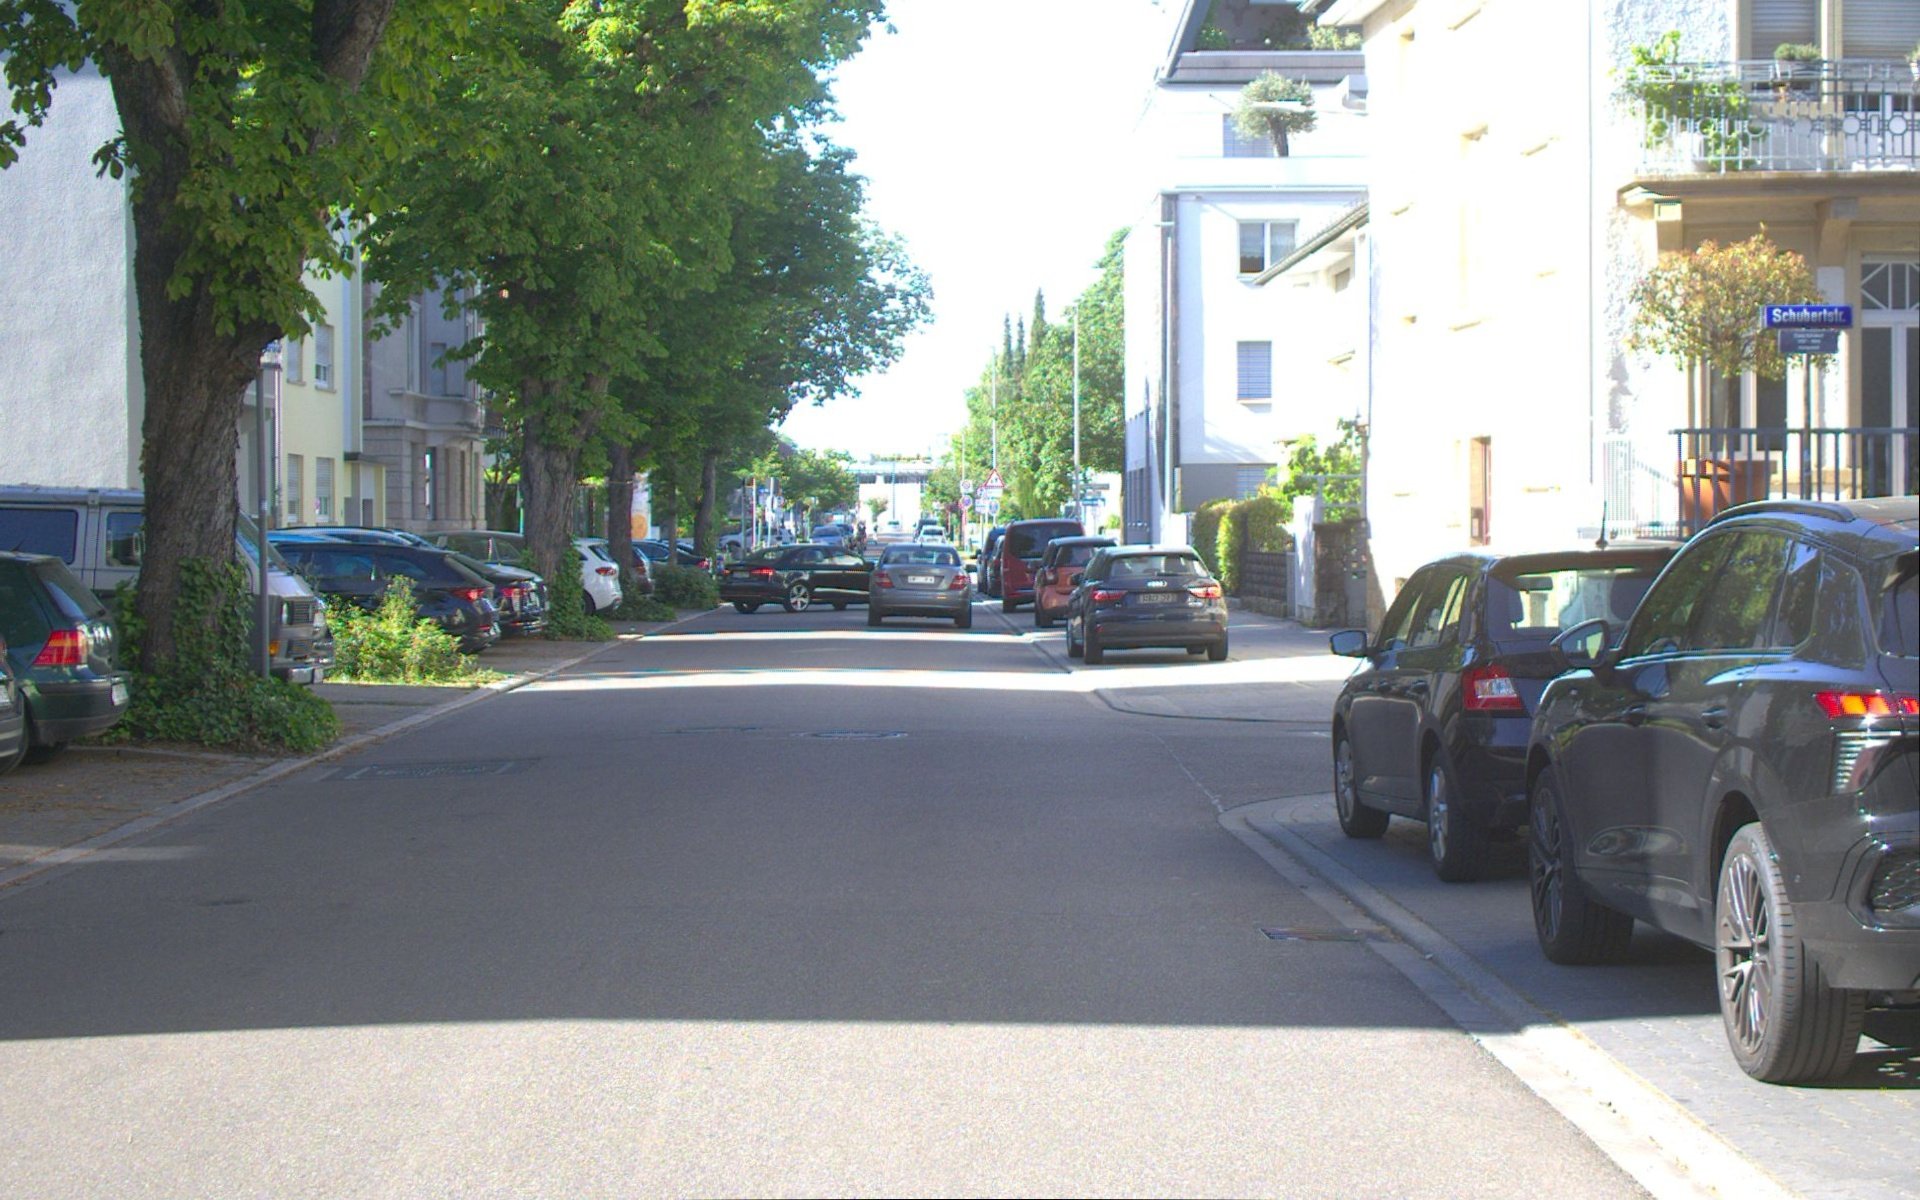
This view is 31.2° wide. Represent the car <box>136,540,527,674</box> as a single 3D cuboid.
[{"bbox_3d":[-7.169,0.065,39.545,4.186,1.493,1.861,0,1,-2],"label":"car"}]

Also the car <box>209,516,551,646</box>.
[{"bbox_3d":[-7.975,-0.276,47.527,4.386,1.646,1.823,-1,2,0],"label":"car"}]

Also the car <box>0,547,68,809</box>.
[{"bbox_3d":[-7.046,0.378,19.477,3.478,1.453,1.797,2,1,0],"label":"car"}]

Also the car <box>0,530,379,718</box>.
[{"bbox_3d":[-7.247,0.179,30.223,3.945,1.493,1.662,2,2,1],"label":"car"}]

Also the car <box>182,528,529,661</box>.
[{"bbox_3d":[-7.372,-0.089,42.243,3.986,1.587,1.878,0,1,-2],"label":"car"}]

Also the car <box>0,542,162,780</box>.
[{"bbox_3d":[-7.236,0.319,21.898,3.921,1.410,1.716,2,1,-3],"label":"car"}]

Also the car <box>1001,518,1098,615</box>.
[{"bbox_3d":[1.821,-0.689,71.558,1.871,1.898,5.197,-1,0,0],"label":"car"}]

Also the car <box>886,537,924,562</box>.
[{"bbox_3d":[-2.944,-2.688,183.217,1.722,1.325,4.001,0,1,-5],"label":"car"}]

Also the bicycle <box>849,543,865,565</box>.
[{"bbox_3d":[-4.957,-2.228,165.590,0.719,1.075,1.891,0,1,0],"label":"bicycle"}]

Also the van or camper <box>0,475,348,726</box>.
[{"bbox_3d":[-7.275,-0.016,27.294,4.497,1.908,1.964,0,1,-1],"label":"van or camper"}]

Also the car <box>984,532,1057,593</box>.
[{"bbox_3d":[1.531,-0.983,88.158,1.737,1.526,4.179,0,1,-1],"label":"car"}]

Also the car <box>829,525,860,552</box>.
[{"bbox_3d":[-6.890,-3.649,204.288,1.787,1.527,4.001,1,1,-2],"label":"car"}]

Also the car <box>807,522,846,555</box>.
[{"bbox_3d":[-7.031,-3.239,180.761,1.872,1.722,4.001,0,1,-5],"label":"car"}]

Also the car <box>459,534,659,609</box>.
[{"bbox_3d":[-8.358,-0.607,71.907,3.986,1.416,1.771,1,2,-2],"label":"car"}]

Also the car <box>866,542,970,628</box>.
[{"bbox_3d":[-0.700,-0.285,59.350,1.726,1.415,3.960,0,1,0],"label":"car"}]

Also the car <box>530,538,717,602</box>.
[{"bbox_3d":[-8.263,-0.733,84.719,4.473,1.474,1.869,1,0,-2],"label":"car"}]

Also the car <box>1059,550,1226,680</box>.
[{"bbox_3d":[2.193,0.145,42.226,1.619,1.435,3.935,-2,1,-2],"label":"car"}]

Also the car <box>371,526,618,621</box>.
[{"bbox_3d":[-8.027,-0.475,59.531,4.022,1.479,1.807,2,1,-1],"label":"car"}]

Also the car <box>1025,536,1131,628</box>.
[{"bbox_3d":[1.999,-0.332,58.849,1.592,1.475,3.247,-2,1,-1],"label":"car"}]

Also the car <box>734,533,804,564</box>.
[{"bbox_3d":[-9.757,-2.636,175.490,3.493,1.528,1.645,0,1,-7],"label":"car"}]

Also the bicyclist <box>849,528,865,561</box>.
[{"bbox_3d":[-4.959,-2.667,165.449,0.721,1.531,1.137,2,0,-1],"label":"bicyclist"}]

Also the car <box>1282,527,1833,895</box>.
[{"bbox_3d":[2.711,0.466,16.490,1.662,1.515,4.002,-1,0,-4],"label":"car"}]

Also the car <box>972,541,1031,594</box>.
[{"bbox_3d":[1.170,-0.918,98.621,1.564,1.406,3.729,-4,0,0],"label":"car"}]

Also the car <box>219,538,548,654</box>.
[{"bbox_3d":[-7.408,-0.061,44.435,3.987,1.463,1.697,0,1,-1],"label":"car"}]

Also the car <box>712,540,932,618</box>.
[{"bbox_3d":[-2.835,-0.420,70.985,4.188,1.443,1.712,2,0,-32],"label":"car"}]

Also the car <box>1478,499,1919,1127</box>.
[{"bbox_3d":[2.872,0.501,10.528,1.791,1.515,4.367,-1,0,-1],"label":"car"}]
